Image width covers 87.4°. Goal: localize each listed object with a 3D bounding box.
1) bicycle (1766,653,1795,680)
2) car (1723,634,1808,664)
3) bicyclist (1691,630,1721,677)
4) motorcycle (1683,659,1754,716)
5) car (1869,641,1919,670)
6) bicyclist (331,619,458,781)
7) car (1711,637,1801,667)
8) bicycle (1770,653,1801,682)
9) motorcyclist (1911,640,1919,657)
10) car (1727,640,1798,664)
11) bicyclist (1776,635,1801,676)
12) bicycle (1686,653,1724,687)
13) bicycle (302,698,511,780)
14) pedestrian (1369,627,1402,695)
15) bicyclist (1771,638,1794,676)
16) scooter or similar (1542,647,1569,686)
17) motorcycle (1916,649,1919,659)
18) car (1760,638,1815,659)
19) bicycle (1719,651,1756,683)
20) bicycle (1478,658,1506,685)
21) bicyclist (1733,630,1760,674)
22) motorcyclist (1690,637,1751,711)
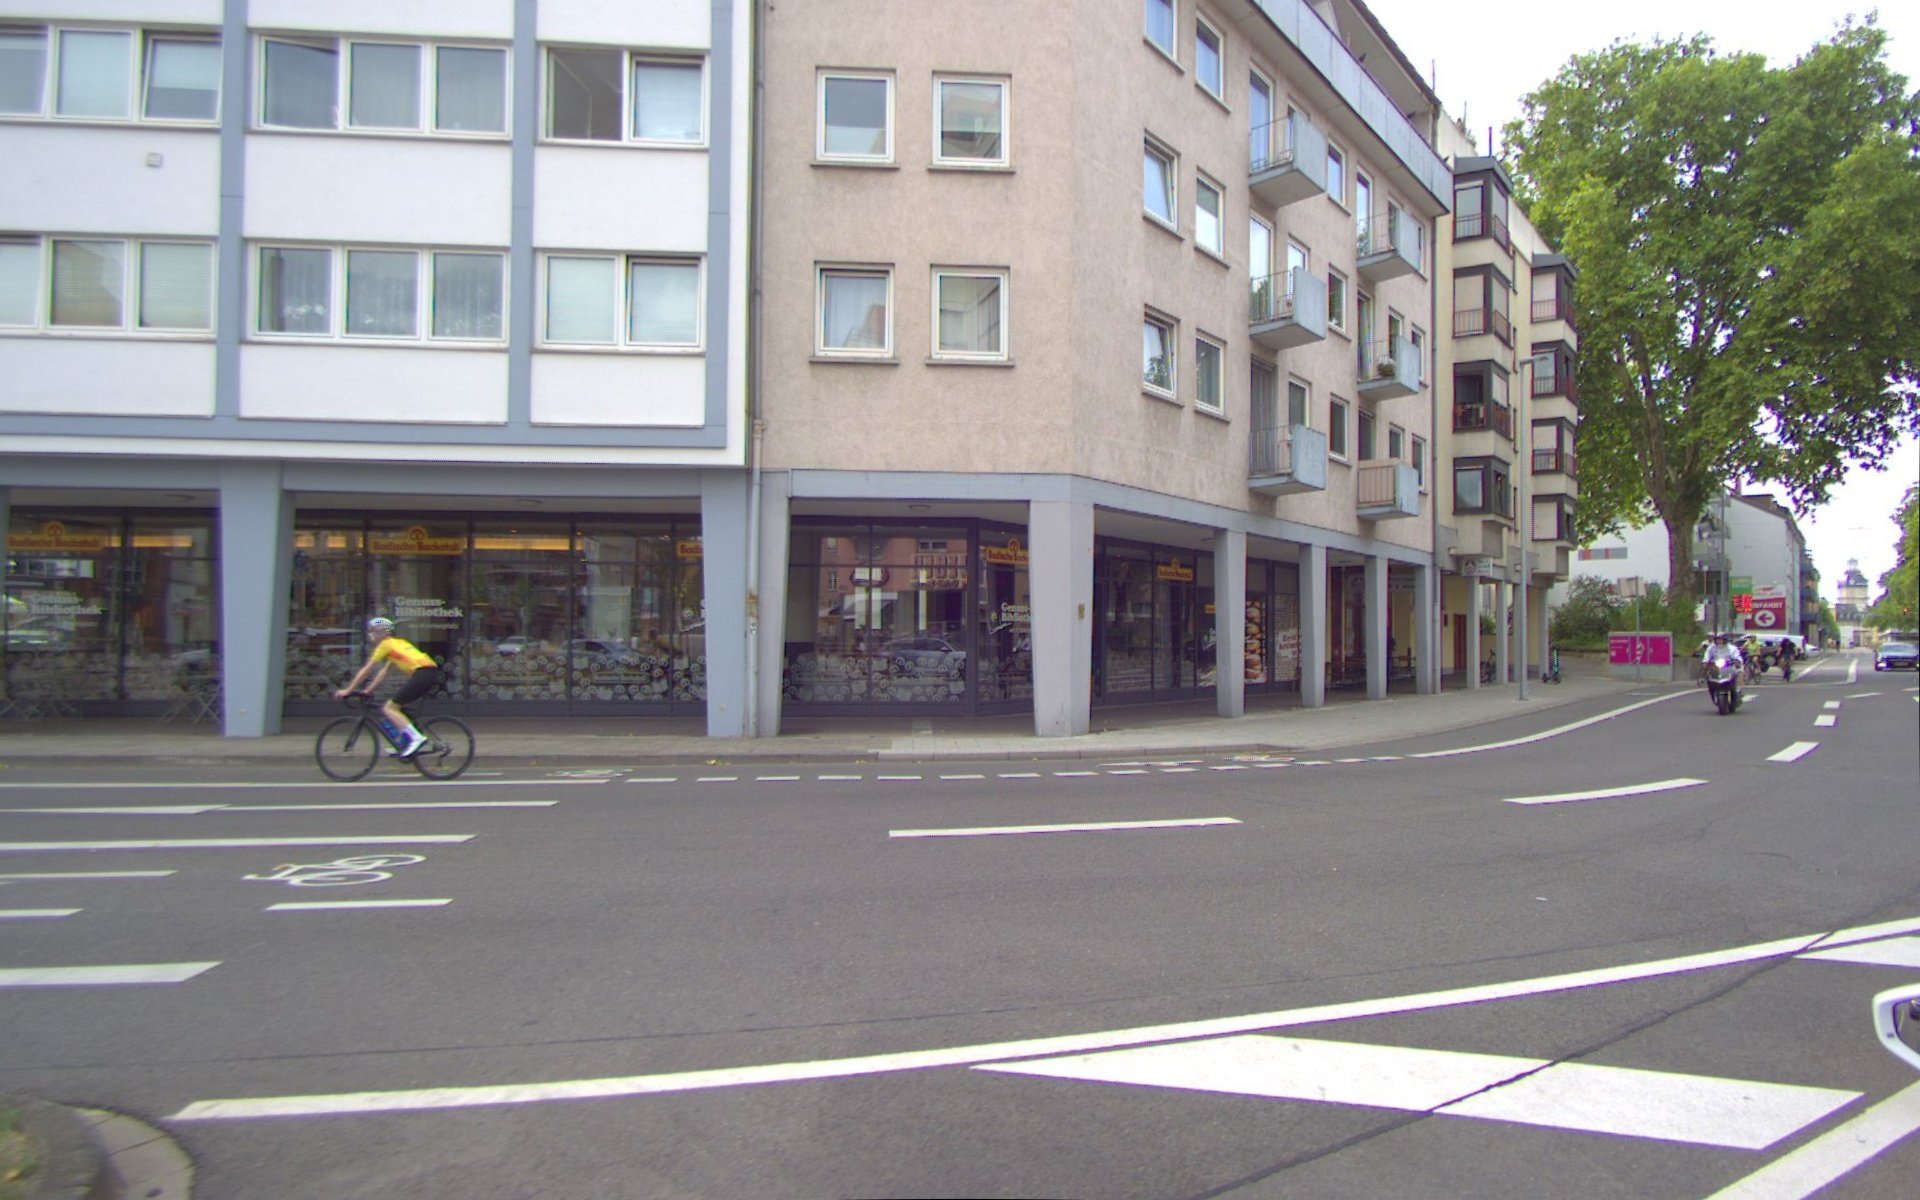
[{"bbox_3d":[34.641,2.805,42.384,0.730,1.020,2.181,0,0,45],"label":"bicycle"},{"bbox_3d":[56.442,3.396,70.412,4.478,1.903,2.035,1,-1,44],"label":"car"},{"bbox_3d":[25.177,1.796,33.895,0.995,1.545,0.650,0,0,-44],"label":"bicyclist"},{"bbox_3d":[15.551,1.774,20.587,2.020,1.109,0.715,2,-5,-41],"label":"motorcycle"},{"bbox_3d":[48.147,2.822,51.824,1.790,1.426,4.584,-2,-3,42],"label":"car"},{"bbox_3d":[-6.042,1.050,10.786,0.953,1.671,0.714,0,-2,-4],"label":"bicyclist"},{"bbox_3d":[48.872,3.151,61.728,4.211,1.627,1.956,0,0,44],"label":"car"},{"bbox_3d":[32.359,2.617,39.371,0.730,1.020,1.963,0,0,45],"label":"bicycle"},{"bbox_3d":[93.434,4.747,97.935,0.942,1.682,1.249,-2,-2,41],"label":"motorcyclist"},{"bbox_3d":[54.628,3.525,68.402,3.641,1.464,1.744,1,0,42],"label":"car"},{"bbox_3d":[32.529,2.175,39.444,0.850,1.545,0.650,0,0,-44],"label":"bicyclist"},{"bbox_3d":[25.207,2.340,33.965,1.896,1.020,0.730,0,0,-44],"label":"bicycle"},{"bbox_3d":[-5.947,1.488,10.849,1.960,0.805,0.410,0,-2,-6],"label":"bicycle"},{"bbox_3d":[11.559,1.644,27.266,0.575,1.780,0.780,1,-1,42],"label":"pedestrian"},{"bbox_3d":[35.037,2.405,42.792,1.069,1.545,0.650,0,0,-44],"label":"bicyclist"},{"bbox_3d":[19.775,2.199,33.390,0.281,1.281,1.177,0,-2,5],"label":"scooter or similar"},{"bbox_3d":[93.481,5.239,97.736,0.619,0.942,2.390,-2,-3,42],"label":"motorcycle"},{"bbox_3d":[64.707,3.768,78.554,3.304,1.516,1.588,1,-1,41],"label":"car"},{"bbox_3d":[28.268,2.430,36.507,2.236,1.020,0.730,0,0,-44],"label":"bicycle"},{"bbox_3d":[17.650,2.355,33.298,0.424,0.832,1.610,-2,-3,42],"label":"bicycle"},{"bbox_3d":[28.457,1.875,36.330,0.835,1.545,0.650,0,0,-44],"label":"bicyclist"},{"bbox_3d":[15.725,1.525,20.762,0.858,1.479,0.789,2,-5,-41],"label":"motorcyclist"}]
